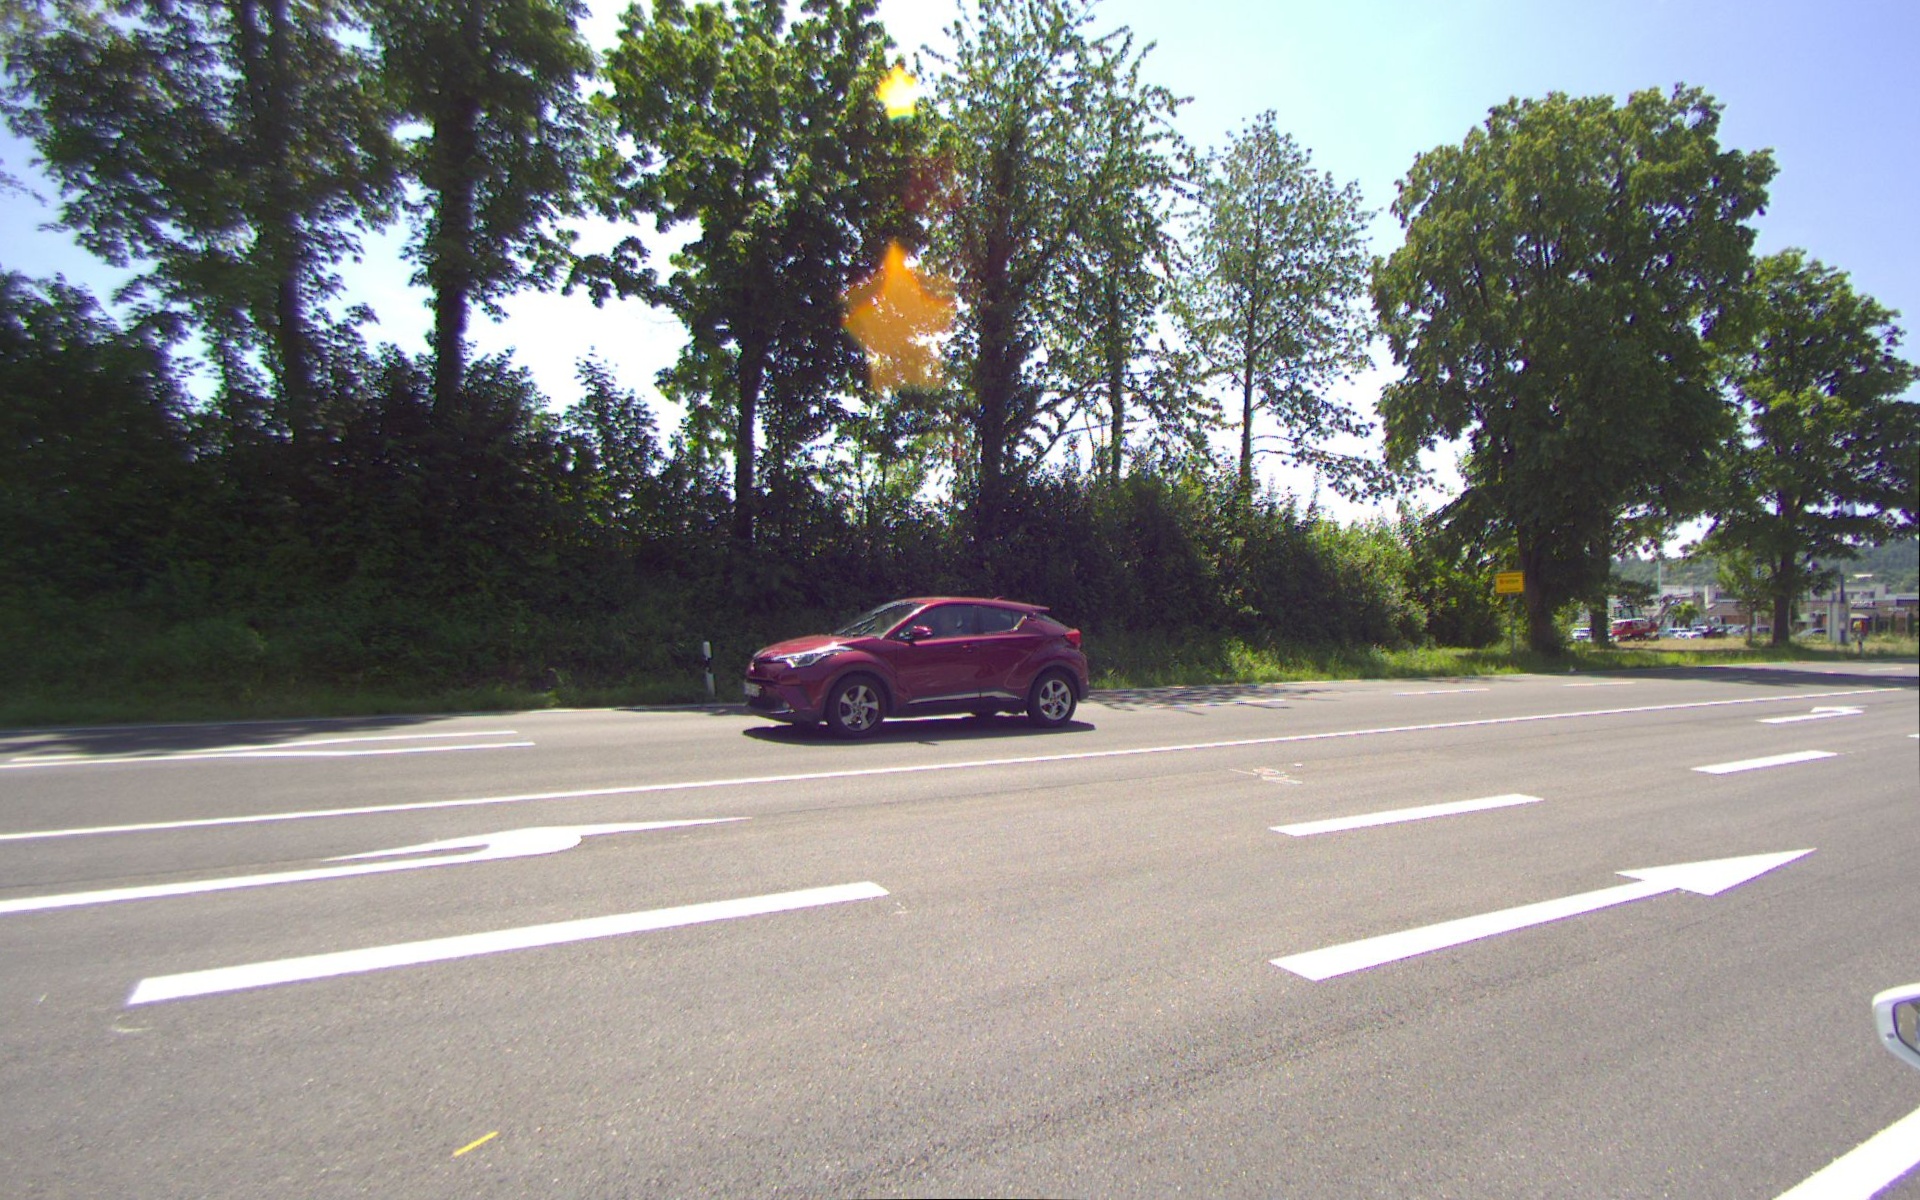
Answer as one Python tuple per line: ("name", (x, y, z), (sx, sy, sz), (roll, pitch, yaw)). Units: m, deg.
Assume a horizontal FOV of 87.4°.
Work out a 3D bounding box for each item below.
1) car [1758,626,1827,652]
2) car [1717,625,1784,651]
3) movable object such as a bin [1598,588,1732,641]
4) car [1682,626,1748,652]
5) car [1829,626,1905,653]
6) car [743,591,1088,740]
("car", (57.958, 2.678, 70.029), (1.803, 1.639, 4.002), (1, 0, 7))
("car", (55.254, 2.649, 70.286), (1.803, 1.639, 4.002), (1, 0, 7))
("movable object such as a bin", (46.697, 0.950, 66.731), (6.654, 3.342, 3.054), (0, 0, 10))
("car", (52.908, 2.697, 70.486), (1.959, 1.673, 4.002), (1, 0, 7))
("car", (60.894, 2.635, 67.523), (1.803, 1.639, 4.002), (1, 0, 7))
("car", (-0.503, 0.725, 12.060), (3.722, 1.528, 1.894), (1, -2, -31))
